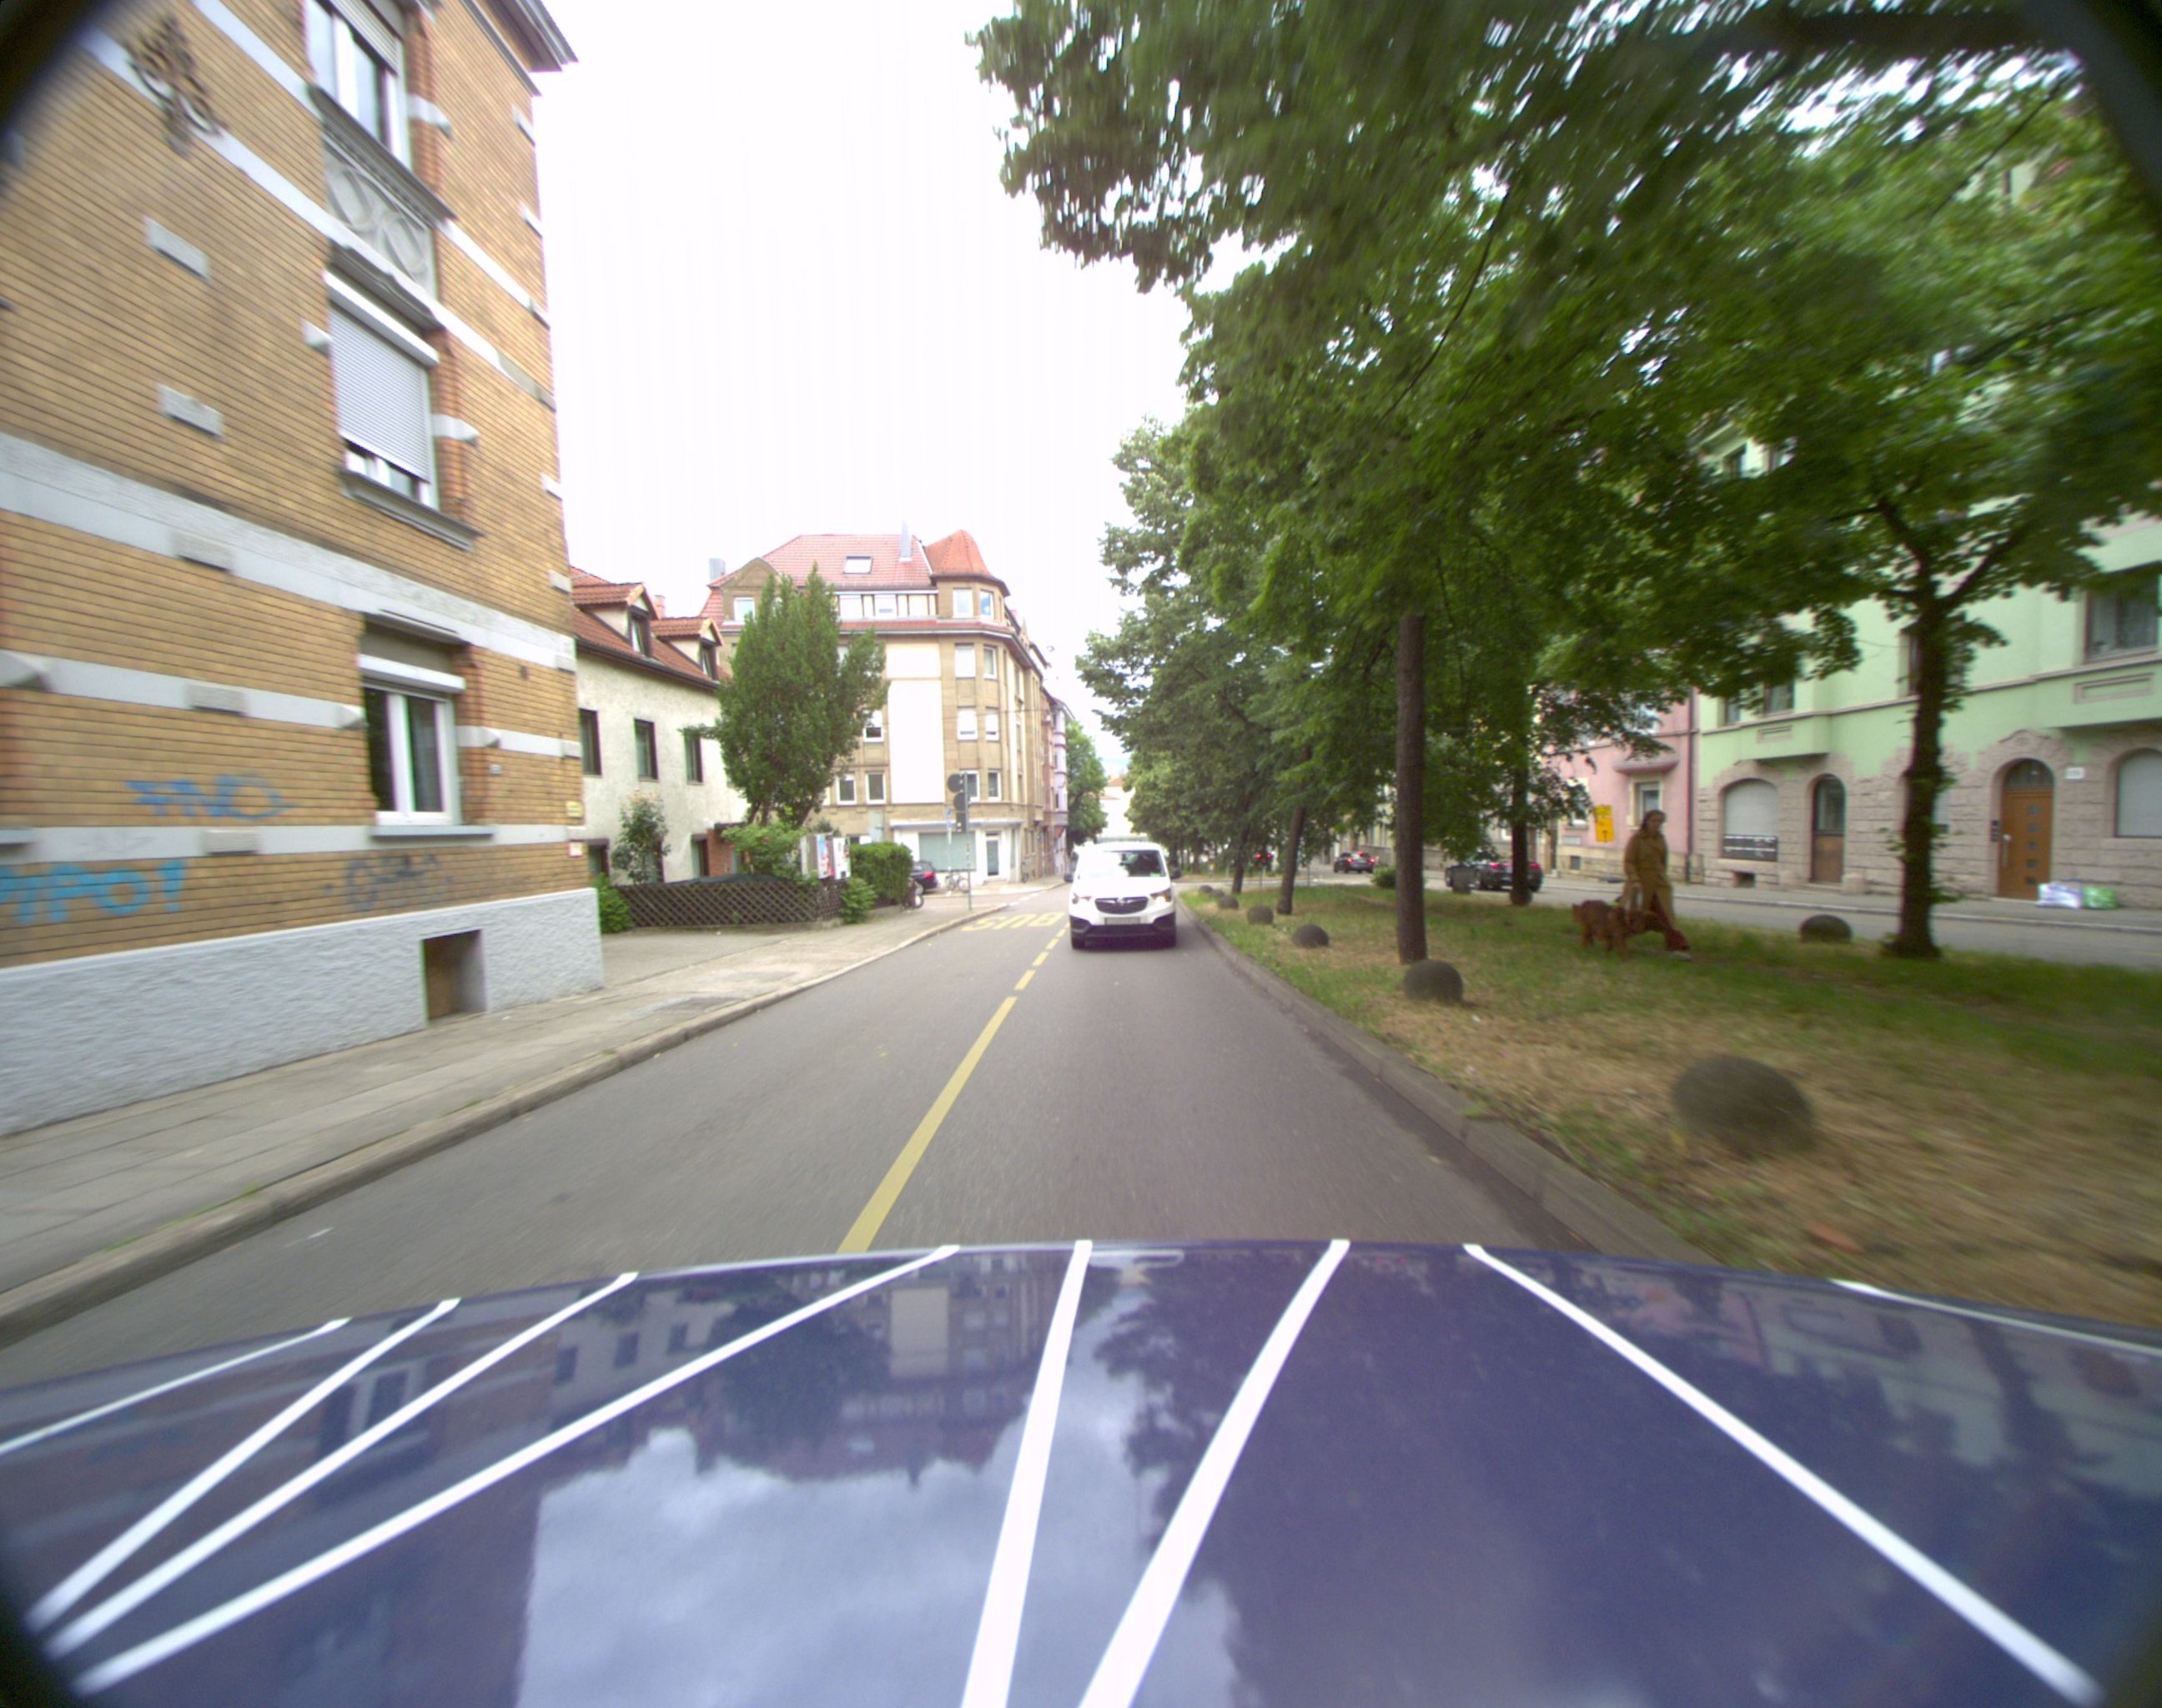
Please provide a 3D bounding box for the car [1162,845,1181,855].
[{"bbox_3d":[17.781,-0.774,149.408,2.207,1.563,4.483,-2,2,27],"label":"car"}]

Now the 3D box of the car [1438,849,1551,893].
[{"bbox_3d":[14.289,0.573,26.610,1.762,1.374,4.670,0,-1,5],"label":"car"}]

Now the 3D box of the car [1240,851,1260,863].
[{"bbox_3d":[21.471,0.375,96.755,1.673,1.398,4.295,-1,0,2],"label":"car"}]

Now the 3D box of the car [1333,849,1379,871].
[{"bbox_3d":[17.966,0.424,49.912,1.712,1.374,4.670,0,-1,5],"label":"car"}]

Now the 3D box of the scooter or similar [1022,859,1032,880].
[{"bbox_3d":[-3.109,0.913,44.071,0.411,1.202,1.146,1,-2,4],"label":"scooter or similar"}]

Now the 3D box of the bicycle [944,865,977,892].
[{"bbox_3d":[-6.064,1.205,38.112,0.642,1.134,2.068,-7,7,-39],"label":"bicycle"}]

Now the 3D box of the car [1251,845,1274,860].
[{"bbox_3d":[21.225,-0.168,89.158,1.820,1.627,4.679,0,1,3],"label":"car"}]

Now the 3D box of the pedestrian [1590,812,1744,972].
[{"bbox_3d":[6.651,0.388,8.703,0.835,1.703,1.123,2,3,4],"label":"pedestrian"}]

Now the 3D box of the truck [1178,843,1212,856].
[{"bbox_3d":[23.343,-0.928,155.318,6.466,2.707,2.766,-1,0,-30],"label":"truck"}]

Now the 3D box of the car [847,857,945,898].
[{"bbox_3d":[-9.007,1.123,37.328,4.376,1.637,1.784,-3,5,-7],"label":"car"}]

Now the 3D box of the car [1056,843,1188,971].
[{"bbox_3d":[0.846,0.752,13.406,1.856,1.798,4.730,-2,1,6],"label":"car"}]

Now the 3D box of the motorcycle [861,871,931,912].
[{"bbox_3d":[-6.295,1.268,25.908,2.060,1.260,1.010,-3,0,0],"label":"motorcycle"}]
